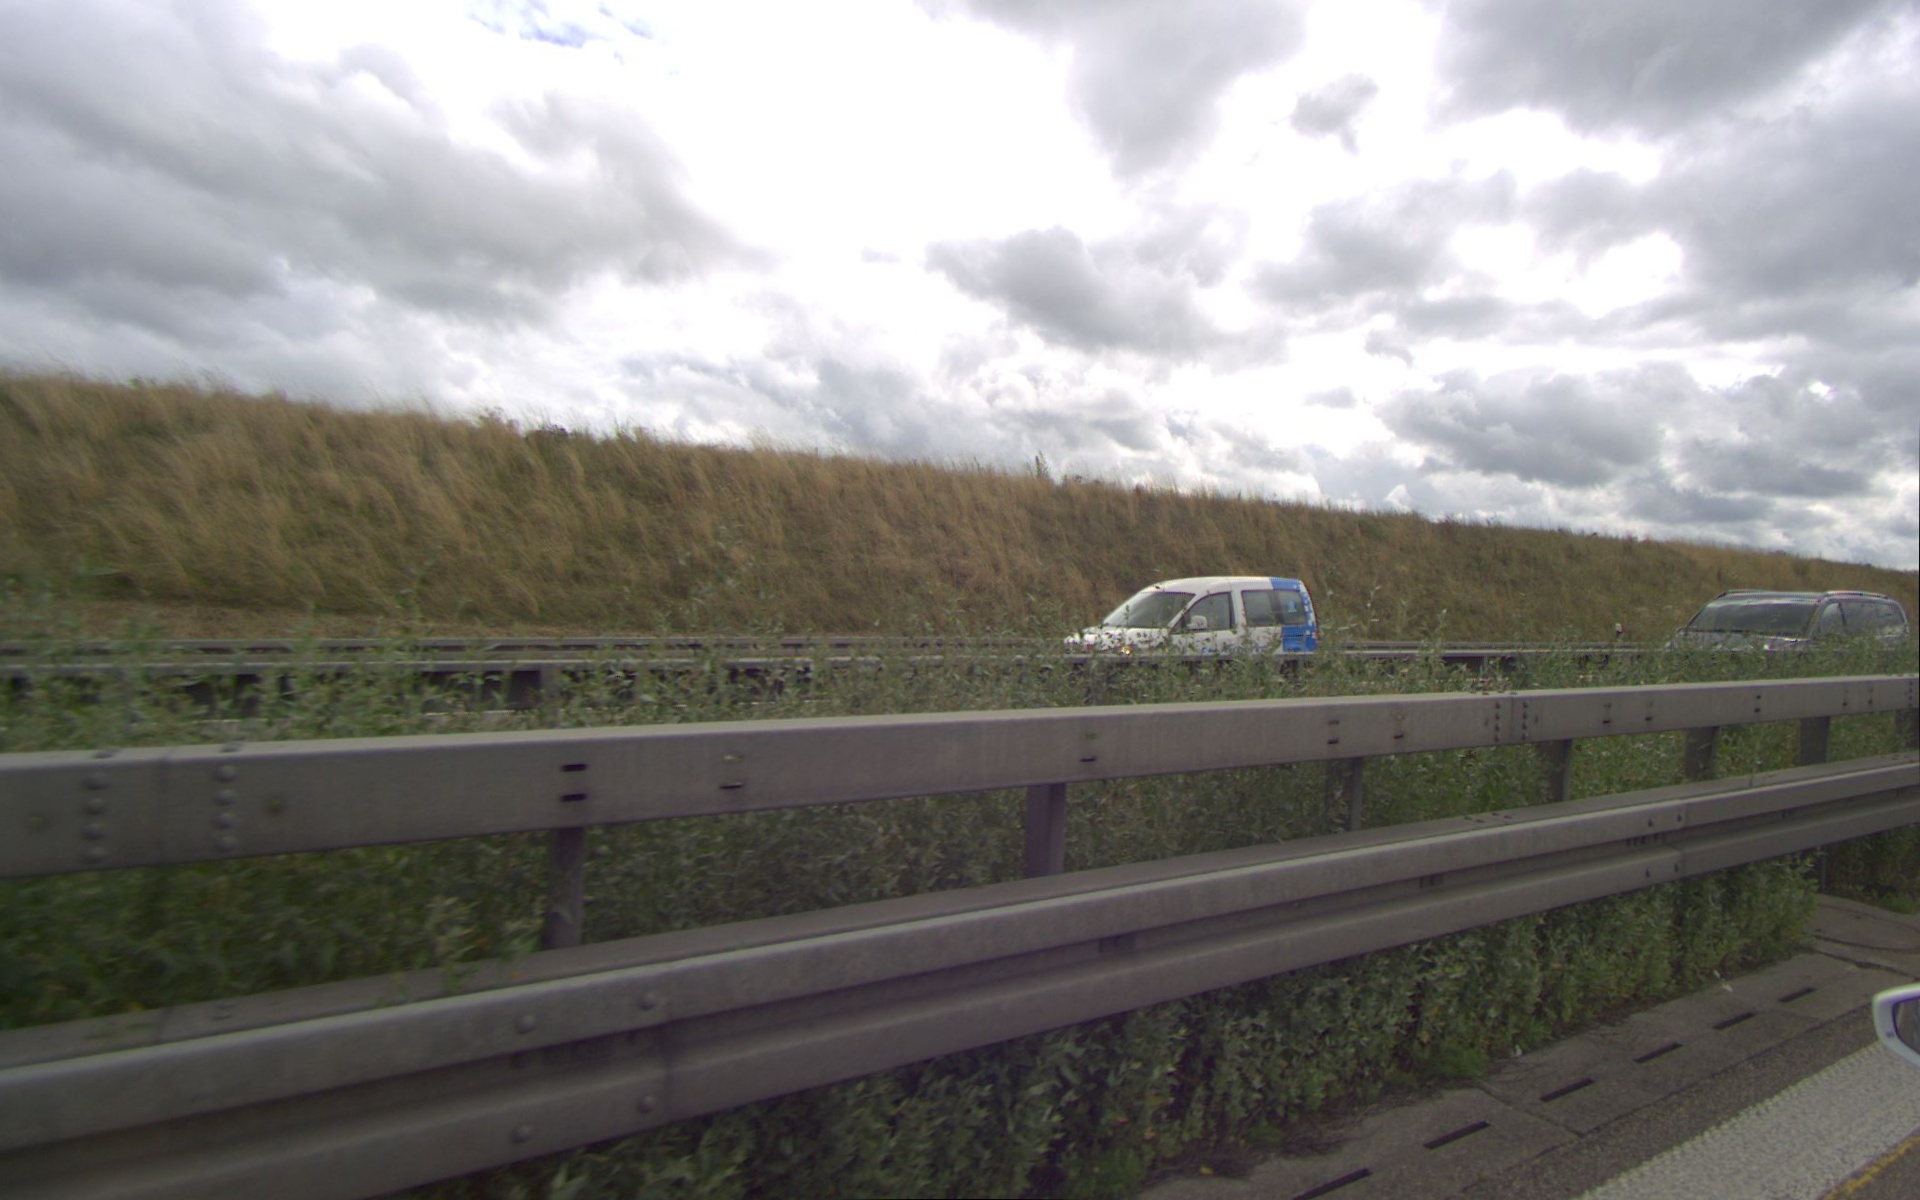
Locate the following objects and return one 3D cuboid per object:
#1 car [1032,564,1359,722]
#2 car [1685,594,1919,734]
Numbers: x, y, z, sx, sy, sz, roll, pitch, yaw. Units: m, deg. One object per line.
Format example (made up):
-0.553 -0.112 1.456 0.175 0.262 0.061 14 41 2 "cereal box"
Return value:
3.571 0.593 15.024 4.652 2.040 1.984 1 0 -30 "car"
14.107 0.999 16.605 3.953 2.040 1.984 2 0 -30 "car"
